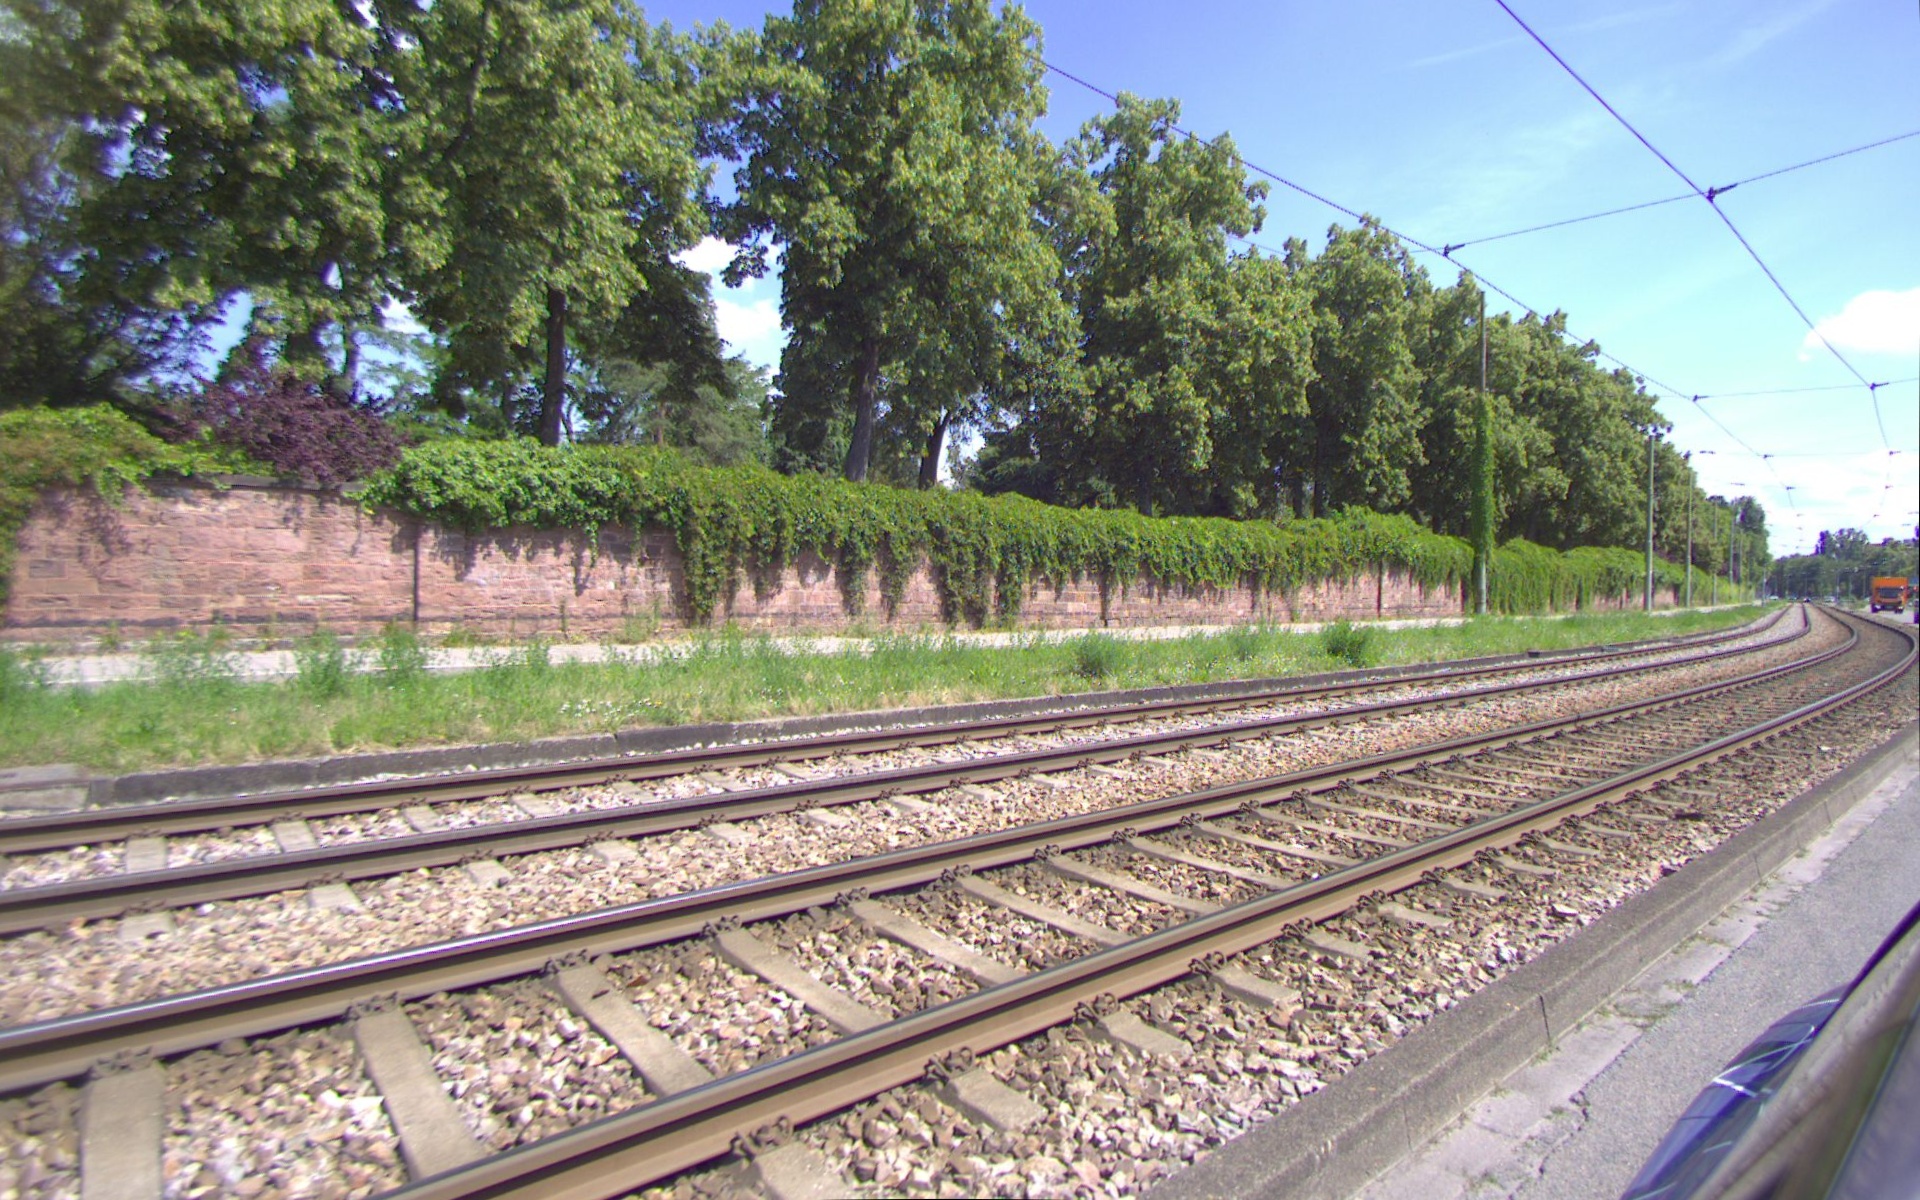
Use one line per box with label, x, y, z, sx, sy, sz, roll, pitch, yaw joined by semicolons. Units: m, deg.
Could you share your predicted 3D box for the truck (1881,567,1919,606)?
truck;93.102;-1.359;100.134;2.837;3.640;8.574;1;2;42
